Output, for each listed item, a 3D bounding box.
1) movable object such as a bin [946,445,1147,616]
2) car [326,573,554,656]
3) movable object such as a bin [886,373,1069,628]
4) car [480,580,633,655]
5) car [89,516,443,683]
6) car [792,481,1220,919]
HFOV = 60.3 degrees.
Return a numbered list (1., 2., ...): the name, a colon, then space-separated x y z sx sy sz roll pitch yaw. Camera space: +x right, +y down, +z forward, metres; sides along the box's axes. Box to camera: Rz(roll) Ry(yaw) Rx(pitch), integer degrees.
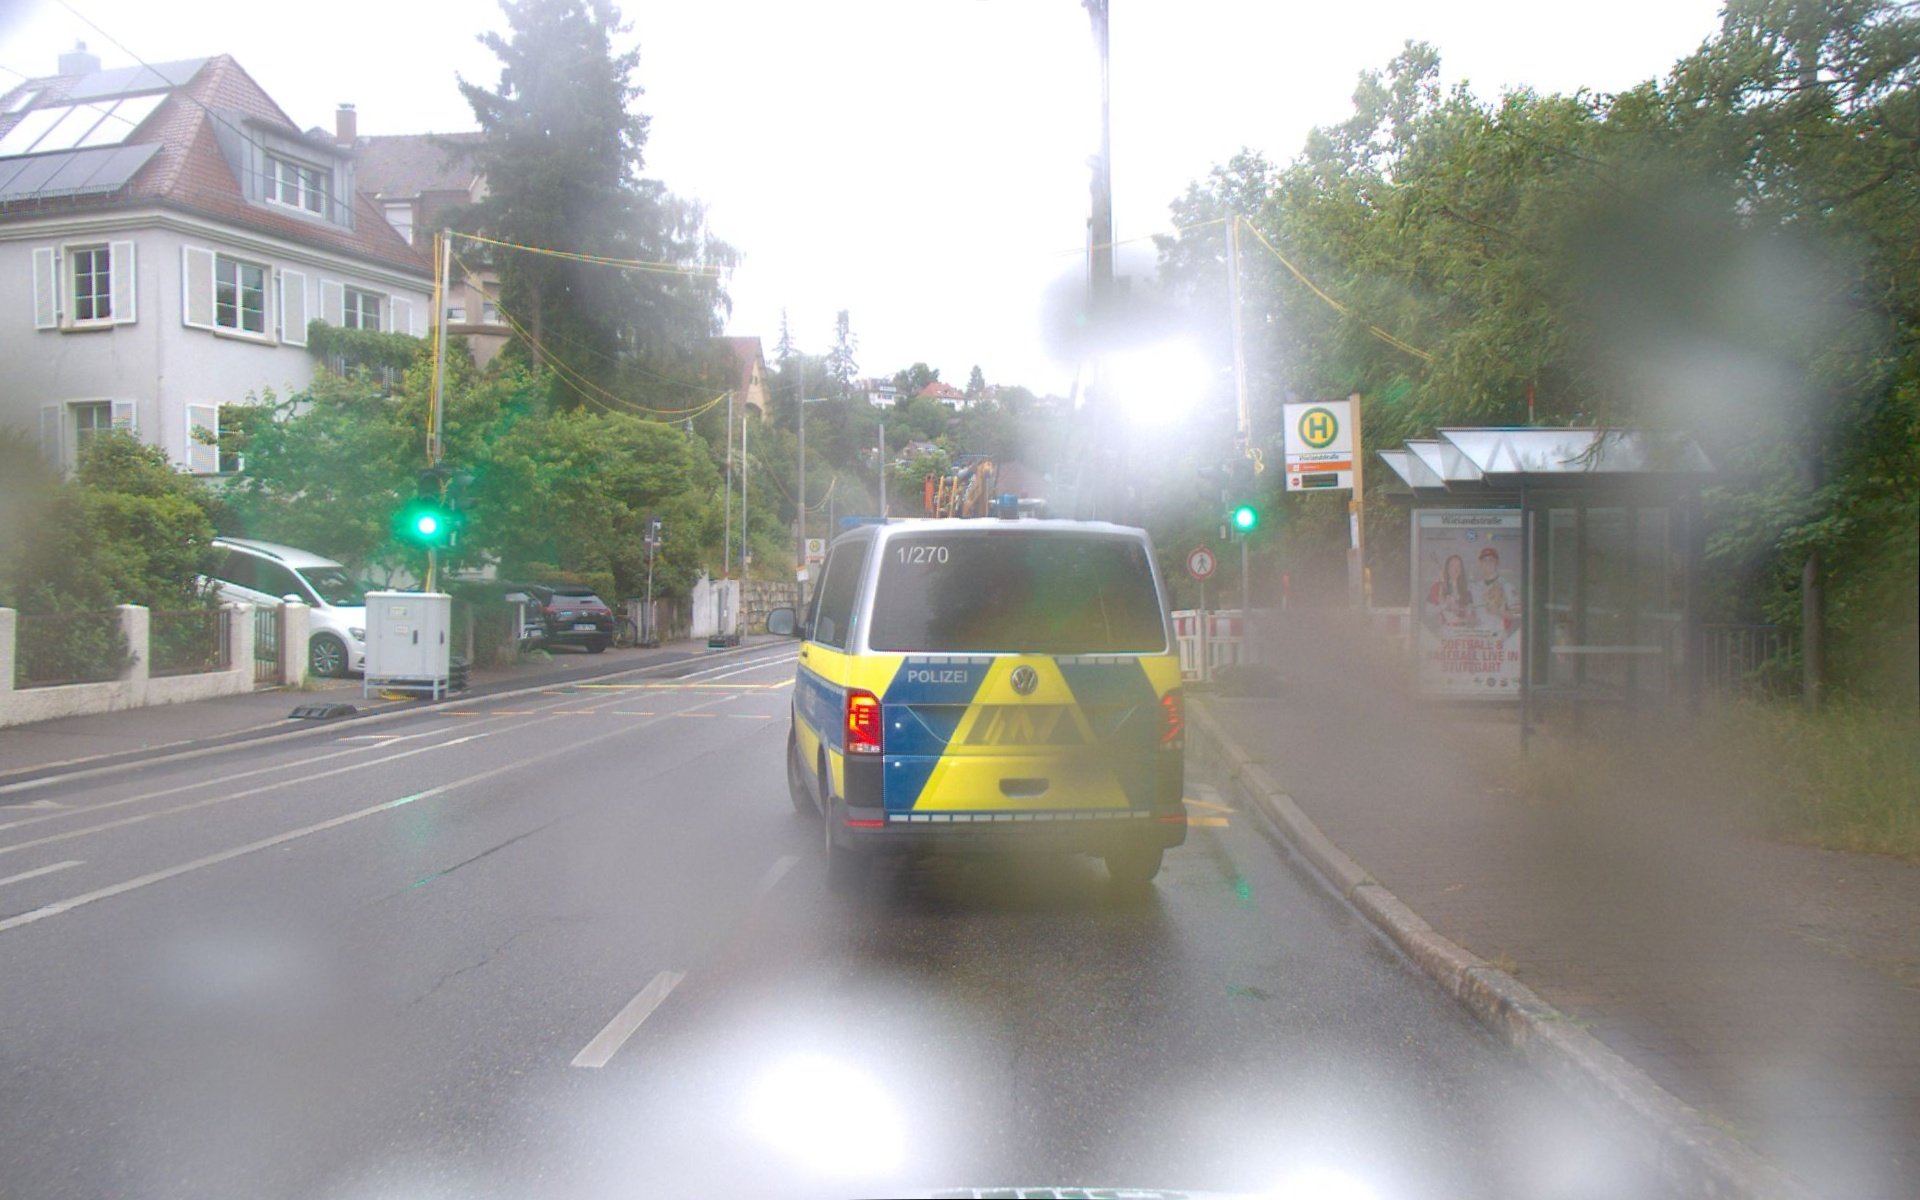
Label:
1. movable object such as a bin: 2.976 -2.111 54.376 3.615 5.155 7.146 -1 -1 31
2. car: -10.392 0.288 33.168 3.902 1.552 1.942 1 -1 13
3. movable object such as a bin: 0.435 -1.705 30.129 2.817 4.243 4.491 -1 1 6
4. car: -8.897 0.356 36.283 1.769 1.552 3.944 1 0 -39
5. car: -10.916 -0.049 26.091 4.865 1.642 1.865 11 3 14
6. car: 0.015 0.496 10.068 1.872 2.046 4.431 1 -1 -8
